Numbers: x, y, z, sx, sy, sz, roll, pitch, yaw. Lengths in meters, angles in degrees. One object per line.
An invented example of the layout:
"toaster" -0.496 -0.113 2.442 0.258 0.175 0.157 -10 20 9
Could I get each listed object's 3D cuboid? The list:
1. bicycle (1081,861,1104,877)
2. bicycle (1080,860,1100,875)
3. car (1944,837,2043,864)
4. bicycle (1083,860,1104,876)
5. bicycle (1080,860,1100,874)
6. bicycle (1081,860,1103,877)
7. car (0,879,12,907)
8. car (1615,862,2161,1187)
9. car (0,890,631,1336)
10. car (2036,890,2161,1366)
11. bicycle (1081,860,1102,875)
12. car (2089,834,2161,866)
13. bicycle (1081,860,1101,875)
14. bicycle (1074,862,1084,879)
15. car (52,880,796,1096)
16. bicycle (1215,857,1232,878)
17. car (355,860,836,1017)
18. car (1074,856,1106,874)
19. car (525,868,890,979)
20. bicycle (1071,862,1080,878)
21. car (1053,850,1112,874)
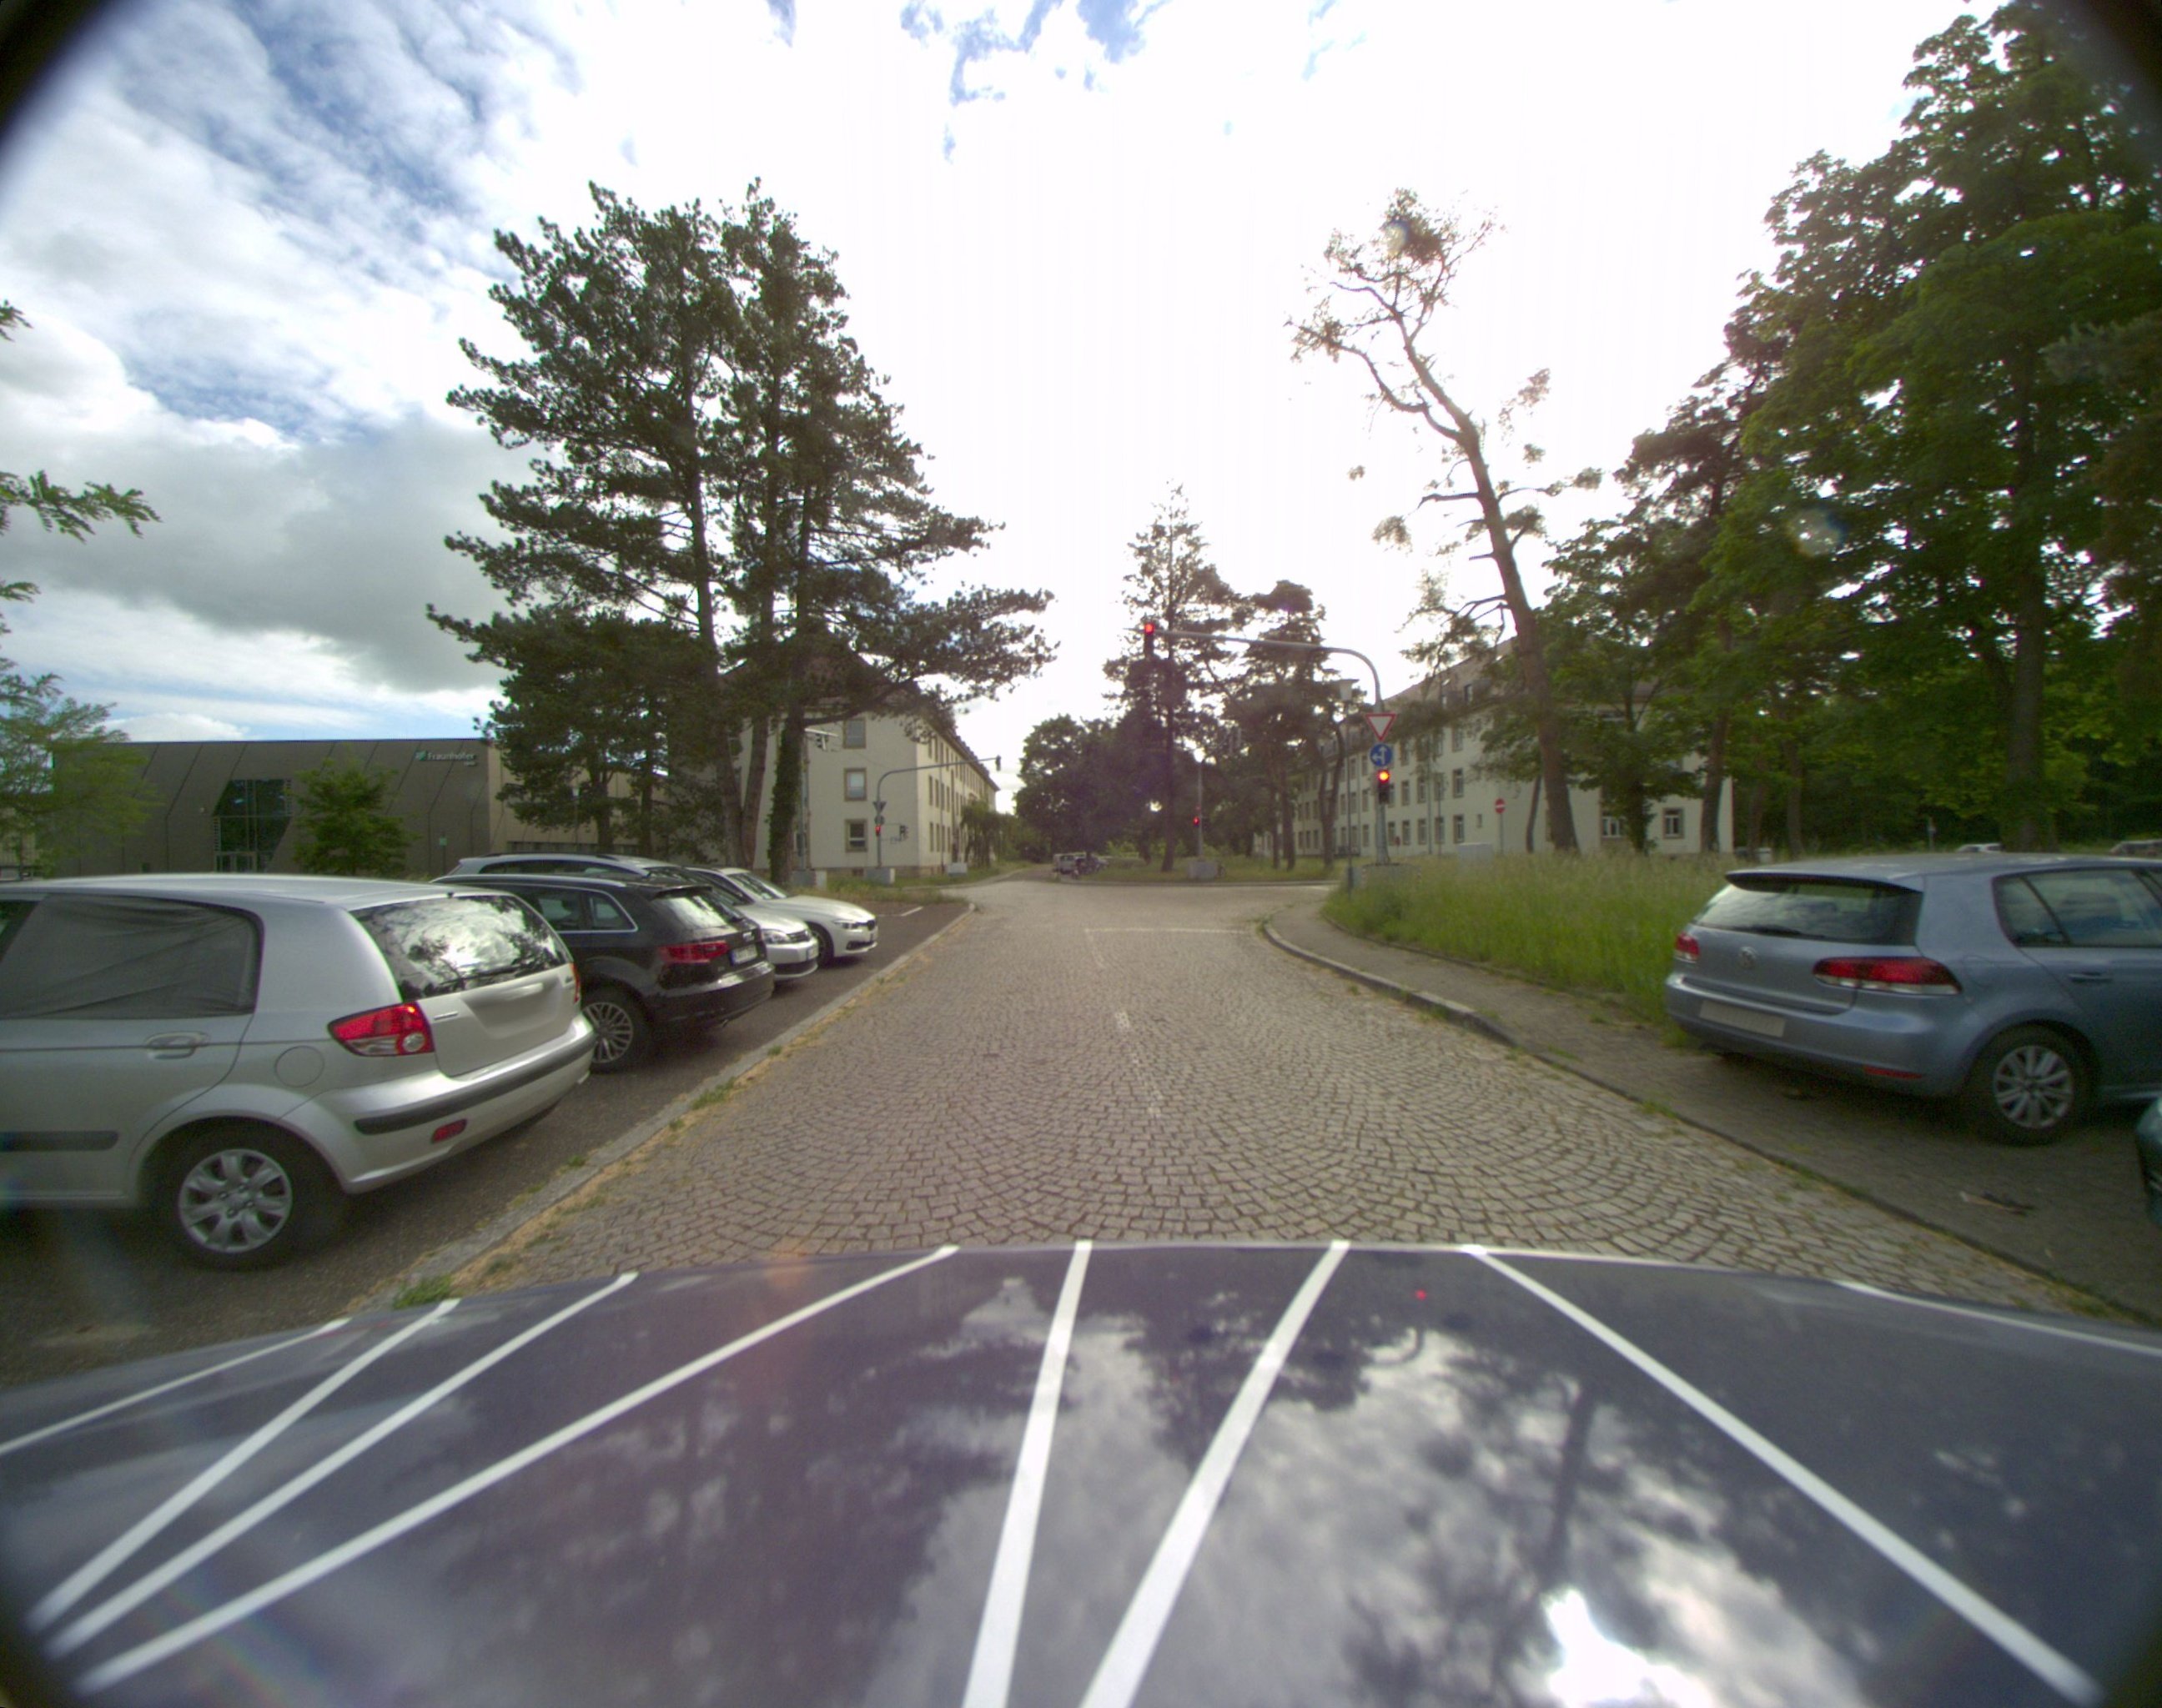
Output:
"bicycle" 0.816 1.031 54.100 1.457 1.033 0.497 -4 1 -7
"bicycle" 0.674 1.024 57.367 1.457 1.033 0.497 -4 1 -7
"car" 57.888 -0.221 48.259 4.054 1.601 1.716 -1 2 2
"bicycle" 0.914 1.032 55.138 1.457 1.033 0.497 -4 1 -7
"bicycle" 0.686 1.023 59.540 1.457 1.033 0.497 -4 1 -7
"bicycle" 0.777 1.019 53.303 1.457 1.033 0.497 -4 1 -9
"car" -58.105 2.166 38.442 1.838 1.455 4.414 -1 2 -4
"car" 6.093 0.848 4.666 4.340 1.462 1.827 -2 1 0
"car" -4.529 0.969 3.517 3.783 1.471 1.742 2 -1 -4
"car" 5.816 0.859 2.031 4.514 1.528 1.869 -2 1 -5
"bicycle" 0.778 1.008 56.409 1.457 1.033 0.497 -4 1 -7
"car" 57.388 -0.221 40.838 4.054 1.601 1.716 -1 2 1
"bicycle" 0.760 1.019 58.002 1.457 1.033 0.497 -4 1 -7
"bicycle" -0.137 1.082 50.278 0.497 1.068 1.416 -4 1 -2
"car" -4.872 0.985 6.210 4.378 1.397 1.796 2 -1 -3
"bicycle" 7.706 0.720 41.190 0.497 1.068 1.416 -4 1 -4
"car" -5.314 0.924 8.885 4.343 1.565 1.826 2 1 -7
"car" 0.789 0.942 68.078 2.772 1.407 1.591 -4 0 -2
"car" -5.372 0.996 11.461 4.563 1.417 1.826 2 1 -5
"bicycle" -0.370 1.080 51.876 0.497 1.032 1.416 -4 1 -2
"car" 0.117 0.727 71.396 5.173 1.905 2.033 -3 0 -15
